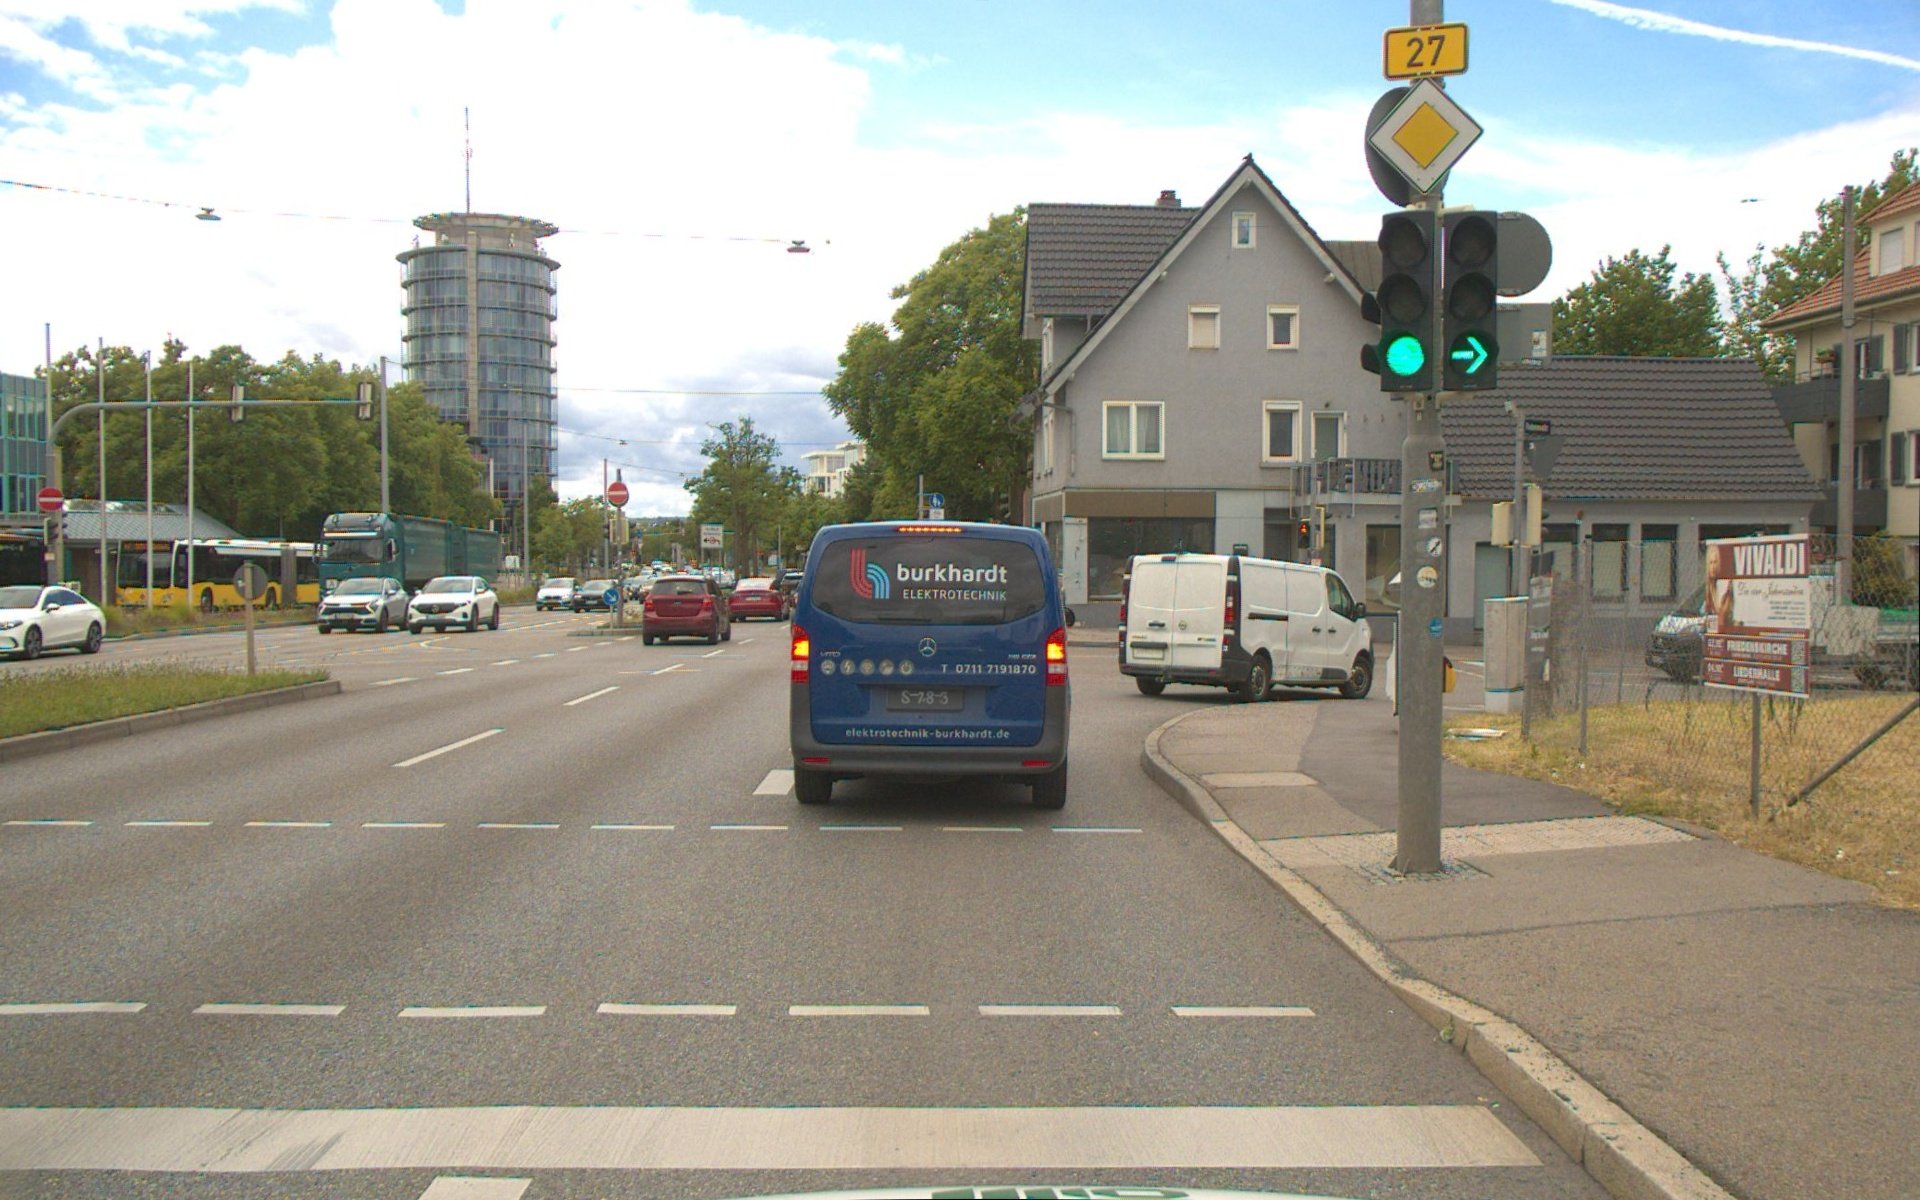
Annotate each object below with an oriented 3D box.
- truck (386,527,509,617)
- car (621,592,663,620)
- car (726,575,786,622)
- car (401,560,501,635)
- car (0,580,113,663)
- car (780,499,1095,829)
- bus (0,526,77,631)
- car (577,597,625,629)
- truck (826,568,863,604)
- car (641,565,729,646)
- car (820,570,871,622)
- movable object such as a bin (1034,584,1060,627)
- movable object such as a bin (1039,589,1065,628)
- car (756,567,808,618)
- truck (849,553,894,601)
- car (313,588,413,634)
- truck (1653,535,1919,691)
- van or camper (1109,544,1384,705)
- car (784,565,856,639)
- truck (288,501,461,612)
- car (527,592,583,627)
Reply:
[{"bbox_3d":[-22.746,-1.213,73.900,3.301,3.792,8.022,-1,0,-3],"label":"truck"},{"bbox_3d":[-18.490,0.315,96.290,1.954,1.542,3.997,-1,1,-4],"label":"car"},{"bbox_3d":[-6.965,-0.035,56.178,1.834,1.512,3.990,-1,-1,-10],"label":"car"},{"bbox_3d":[-14.728,-0.084,48.058,1.955,2.049,4.174,-1,1,-6],"label":"car"},{"bbox_3d":[-19.294,0.400,34.092,1.699,1.601,4.502,-1,0,-5],"label":"car"},{"bbox_3d":[-0.130,0.376,12.400,1.908,2.000,4.541,1,0,0],"label":"car"},{"bbox_3d":[-30.590,-0.658,47.927,2.895,3.188,12.165,1,0,3],"label":"bus"},{"bbox_3d":[-16.261,0.547,75.139,1.957,1.355,4.434,0,1,-10],"label":"car"},{"bbox_3d":[-7.259,-0.884,104.413,1.953,2.203,5.558,2,0,-1],"label":"truck"},{"bbox_3d":[-6.225,0.094,37.824,1.712,1.753,3.995,-1,1,-6],"label":"car"},{"bbox_3d":[-4.019,-0.154,58.153,1.712,1.753,3.997,0,1,-3],"label":"car"},{"bbox_3d":[2.327,0.142,44.354,0.586,1.120,0.572,0,0,-9],"label":"movable object such as a bin"},{"bbox_3d":[2.440,0.216,43.760,0.586,1.004,0.572,0,0,-9],"label":"movable object such as a bin"},{"bbox_3d":[-7.666,-0.356,71.054,1.957,2.048,3.991,1,1,-10],"label":"car"},{"bbox_3d":[-4.271,-1.110,80.723,1.953,2.203,5.558,2,0,-1],"label":"truck"},{"bbox_3d":[-17.786,0.311,49.462,1.793,1.284,3.997,-1,1,-4],"label":"car"},{"bbox_3d":[17.079,0.287,32.235,6.258,2.748,1.999,2,0,-2],"label":"truck"},{"bbox_3d":[4.319,0.262,24.208,1.960,2.048,5.078,3,3,35],"label":"van or camper"},{"bbox_3d":[-3.511,0.022,41.673,1.712,1.753,3.997,-1,1,-4],"label":"car"},{"bbox_3d":[-22.070,-1.539,63.210,3.301,3.792,11.271,1,0,-4],"label":"truck"},{"bbox_3d":[-19.736,0.445,80.804,1.954,1.601,3.997,-1,1,-4],"label":"car"}]
